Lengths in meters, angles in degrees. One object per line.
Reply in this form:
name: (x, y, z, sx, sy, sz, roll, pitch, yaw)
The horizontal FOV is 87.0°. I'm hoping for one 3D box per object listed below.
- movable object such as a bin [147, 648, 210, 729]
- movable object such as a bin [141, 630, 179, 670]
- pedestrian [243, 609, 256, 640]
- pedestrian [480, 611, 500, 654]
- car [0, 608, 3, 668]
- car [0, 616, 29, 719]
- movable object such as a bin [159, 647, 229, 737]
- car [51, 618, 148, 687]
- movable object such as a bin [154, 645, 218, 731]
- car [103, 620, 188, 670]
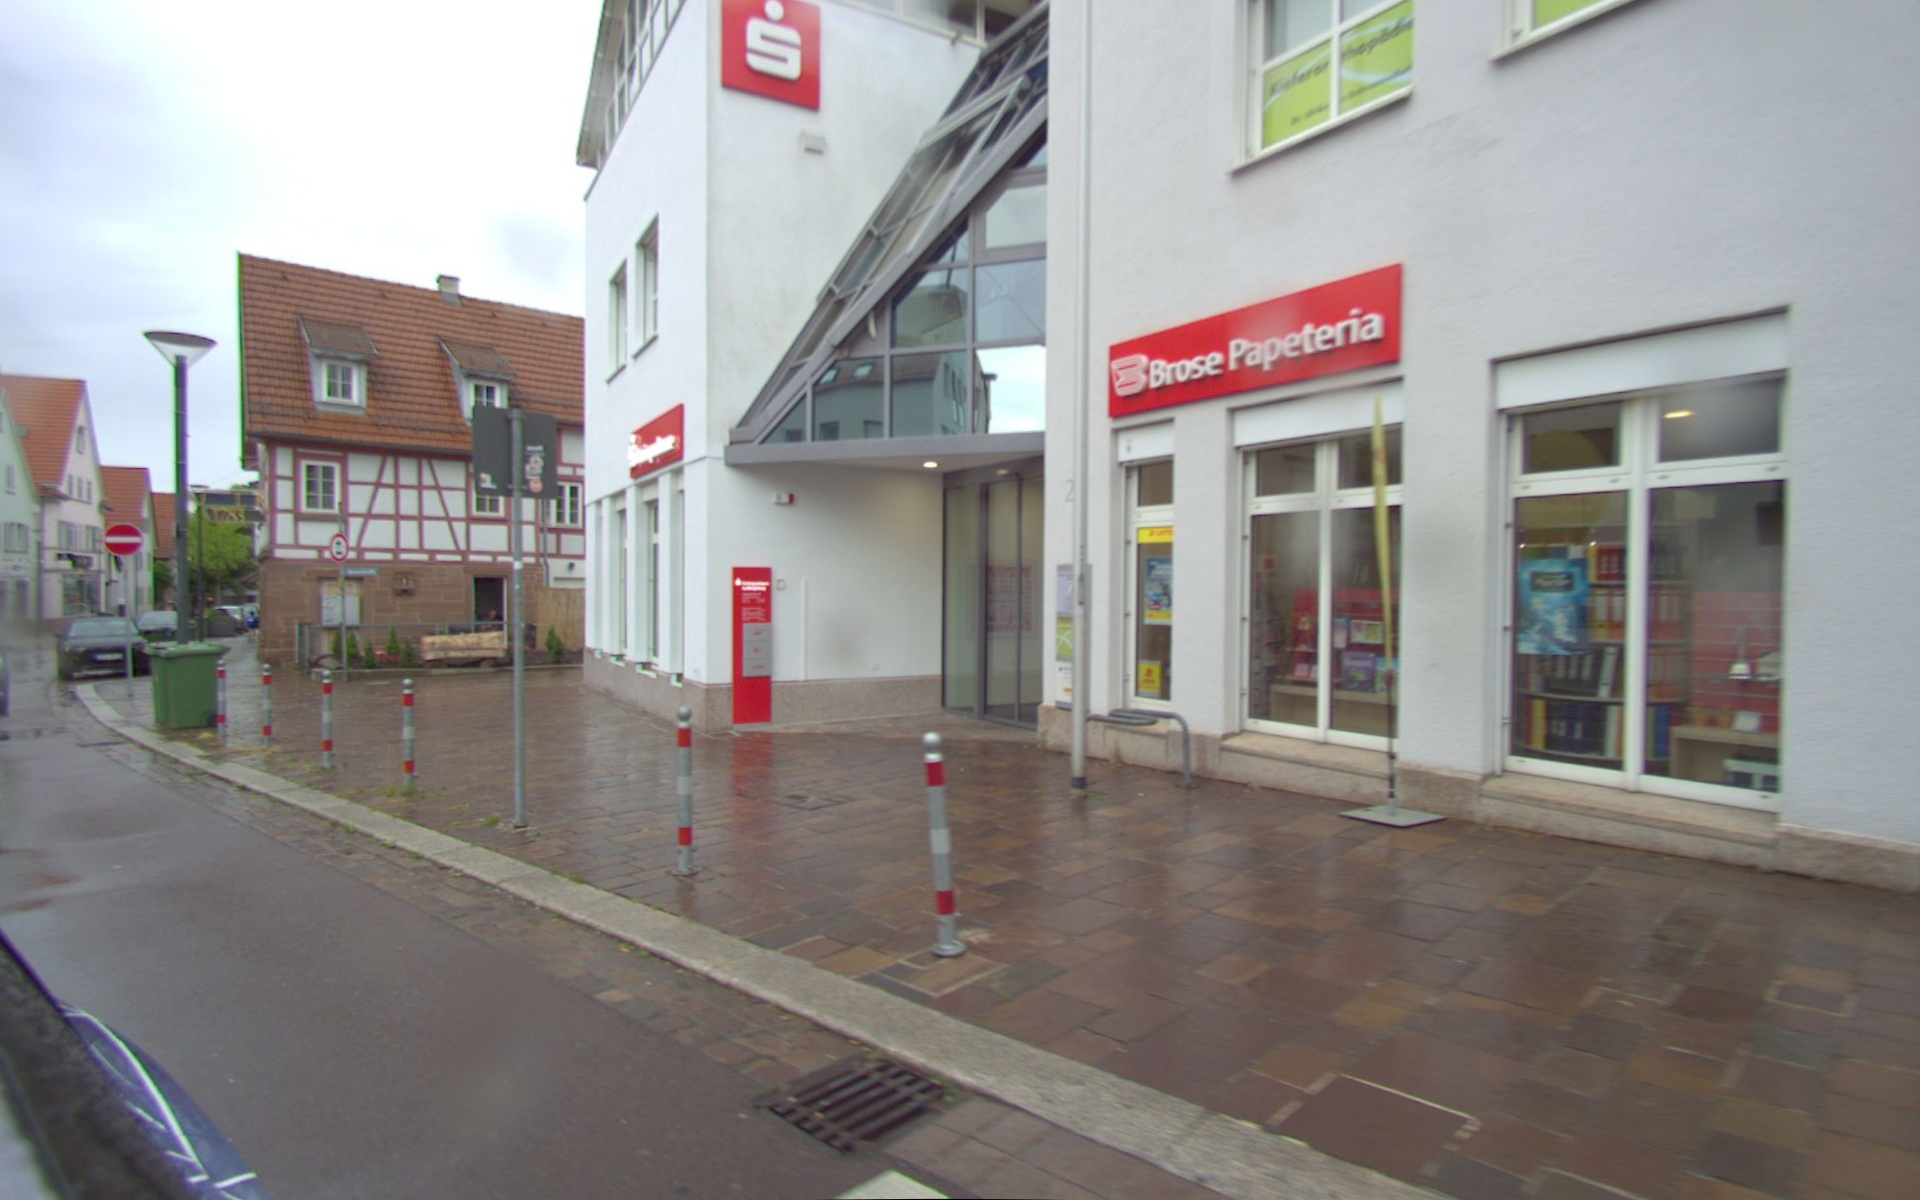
movable object such as a bin: (-11.105, 1.241, 14.381, 0.650, 1.090, 0.553, 1, -1, -43)
movable object such as a bin: (-23.288, 1.437, 29.440, 0.822, 1.120, 0.920, 1, -1, -41)
pedestrian: (-31.230, 1.078, 44.504, 0.448, 1.317, 0.519, 0, 0, -32)
pedestrian: (-12.903, 0.896, 27.800, 0.406, 1.163, 0.425, 0, -1, -39)
car: (-28.460, 1.107, 28.550, 1.969, 1.763, 4.005, 1, -1, -42)
car: (-16.348, 1.050, 16.298, 1.710, 1.567, 3.852, 1, -1, -39)
movable object such as a bin: (-10.076, 1.186, 13.313, 0.651, 1.104, 0.613, 1, -1, -44)
car: (-21.860, 1.258, 25.662, 1.670, 1.497, 4.004, -2, 1, -43)
movable object such as a bin: (-10.657, 1.190, 13.933, 0.650, 1.123, 0.553, 1, -1, -43)
car: (-29.520, 1.585, 36.801, 1.967, 1.540, 4.011, -3, 1, -33)
